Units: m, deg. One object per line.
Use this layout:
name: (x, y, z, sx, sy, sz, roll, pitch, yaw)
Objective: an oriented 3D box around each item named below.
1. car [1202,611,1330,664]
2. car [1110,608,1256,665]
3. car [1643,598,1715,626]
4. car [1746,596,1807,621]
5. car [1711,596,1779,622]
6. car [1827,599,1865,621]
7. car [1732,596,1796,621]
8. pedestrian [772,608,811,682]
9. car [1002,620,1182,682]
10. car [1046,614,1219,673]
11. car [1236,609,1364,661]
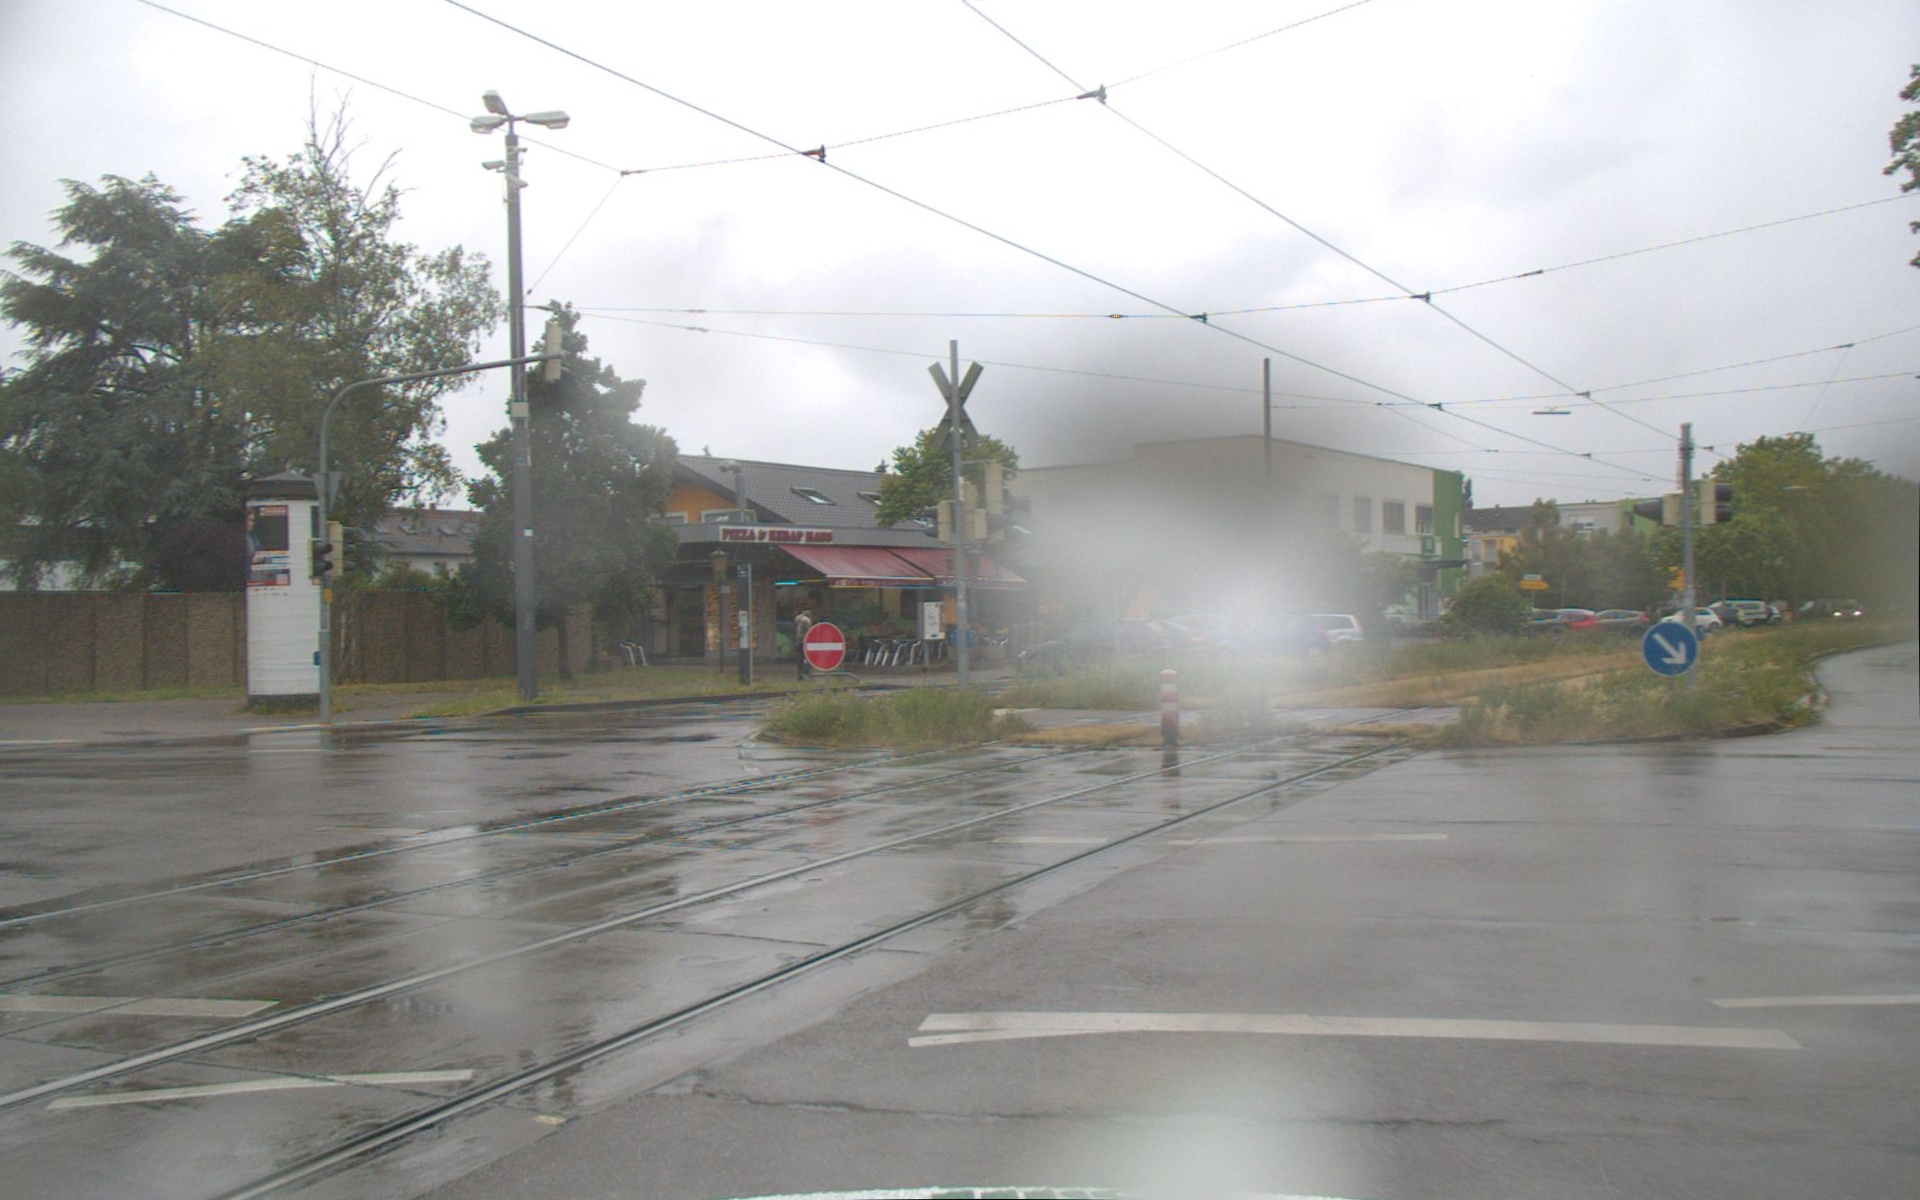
car: (9.775, 1.187, 53.089, 3.902, 1.609, 1.931, -1, -1, 8)
car: (6.585, 1.072, 48.886, 3.906, 1.609, 1.858, -1, -1, 23)
car: (44.090, 0.740, 101.484, 3.694, 1.732, 1.838, 0, 0, 9)
car: (63.579, 0.658, 128.880, 3.902, 1.864, 2.001, 0, 0, 14)
car: (55.414, 0.626, 116.844, 3.902, 1.789, 2.012, 0, 0, 8)
car: (71.291, 0.790, 133.099, 1.863, 1.691, 3.976, 0, -1, 42)
car: (60.545, 0.633, 124.561, 3.902, 1.864, 2.001, 0, 0, 8)
pedestrian: (-4.283, 1.136, 42.187, 0.709, 1.829, 0.887, 0, 0, 15)
car: (3.504, 1.347, 43.827, 4.385, 1.443, 1.859, -3, -1, 20)
car: (4.794, 1.197, 45.932, 4.404, 1.443, 1.859, -3, -1, 20)
car: (11.432, 1.177, 55.832, 4.022, 1.670, 1.931, -1, -1, 5)
